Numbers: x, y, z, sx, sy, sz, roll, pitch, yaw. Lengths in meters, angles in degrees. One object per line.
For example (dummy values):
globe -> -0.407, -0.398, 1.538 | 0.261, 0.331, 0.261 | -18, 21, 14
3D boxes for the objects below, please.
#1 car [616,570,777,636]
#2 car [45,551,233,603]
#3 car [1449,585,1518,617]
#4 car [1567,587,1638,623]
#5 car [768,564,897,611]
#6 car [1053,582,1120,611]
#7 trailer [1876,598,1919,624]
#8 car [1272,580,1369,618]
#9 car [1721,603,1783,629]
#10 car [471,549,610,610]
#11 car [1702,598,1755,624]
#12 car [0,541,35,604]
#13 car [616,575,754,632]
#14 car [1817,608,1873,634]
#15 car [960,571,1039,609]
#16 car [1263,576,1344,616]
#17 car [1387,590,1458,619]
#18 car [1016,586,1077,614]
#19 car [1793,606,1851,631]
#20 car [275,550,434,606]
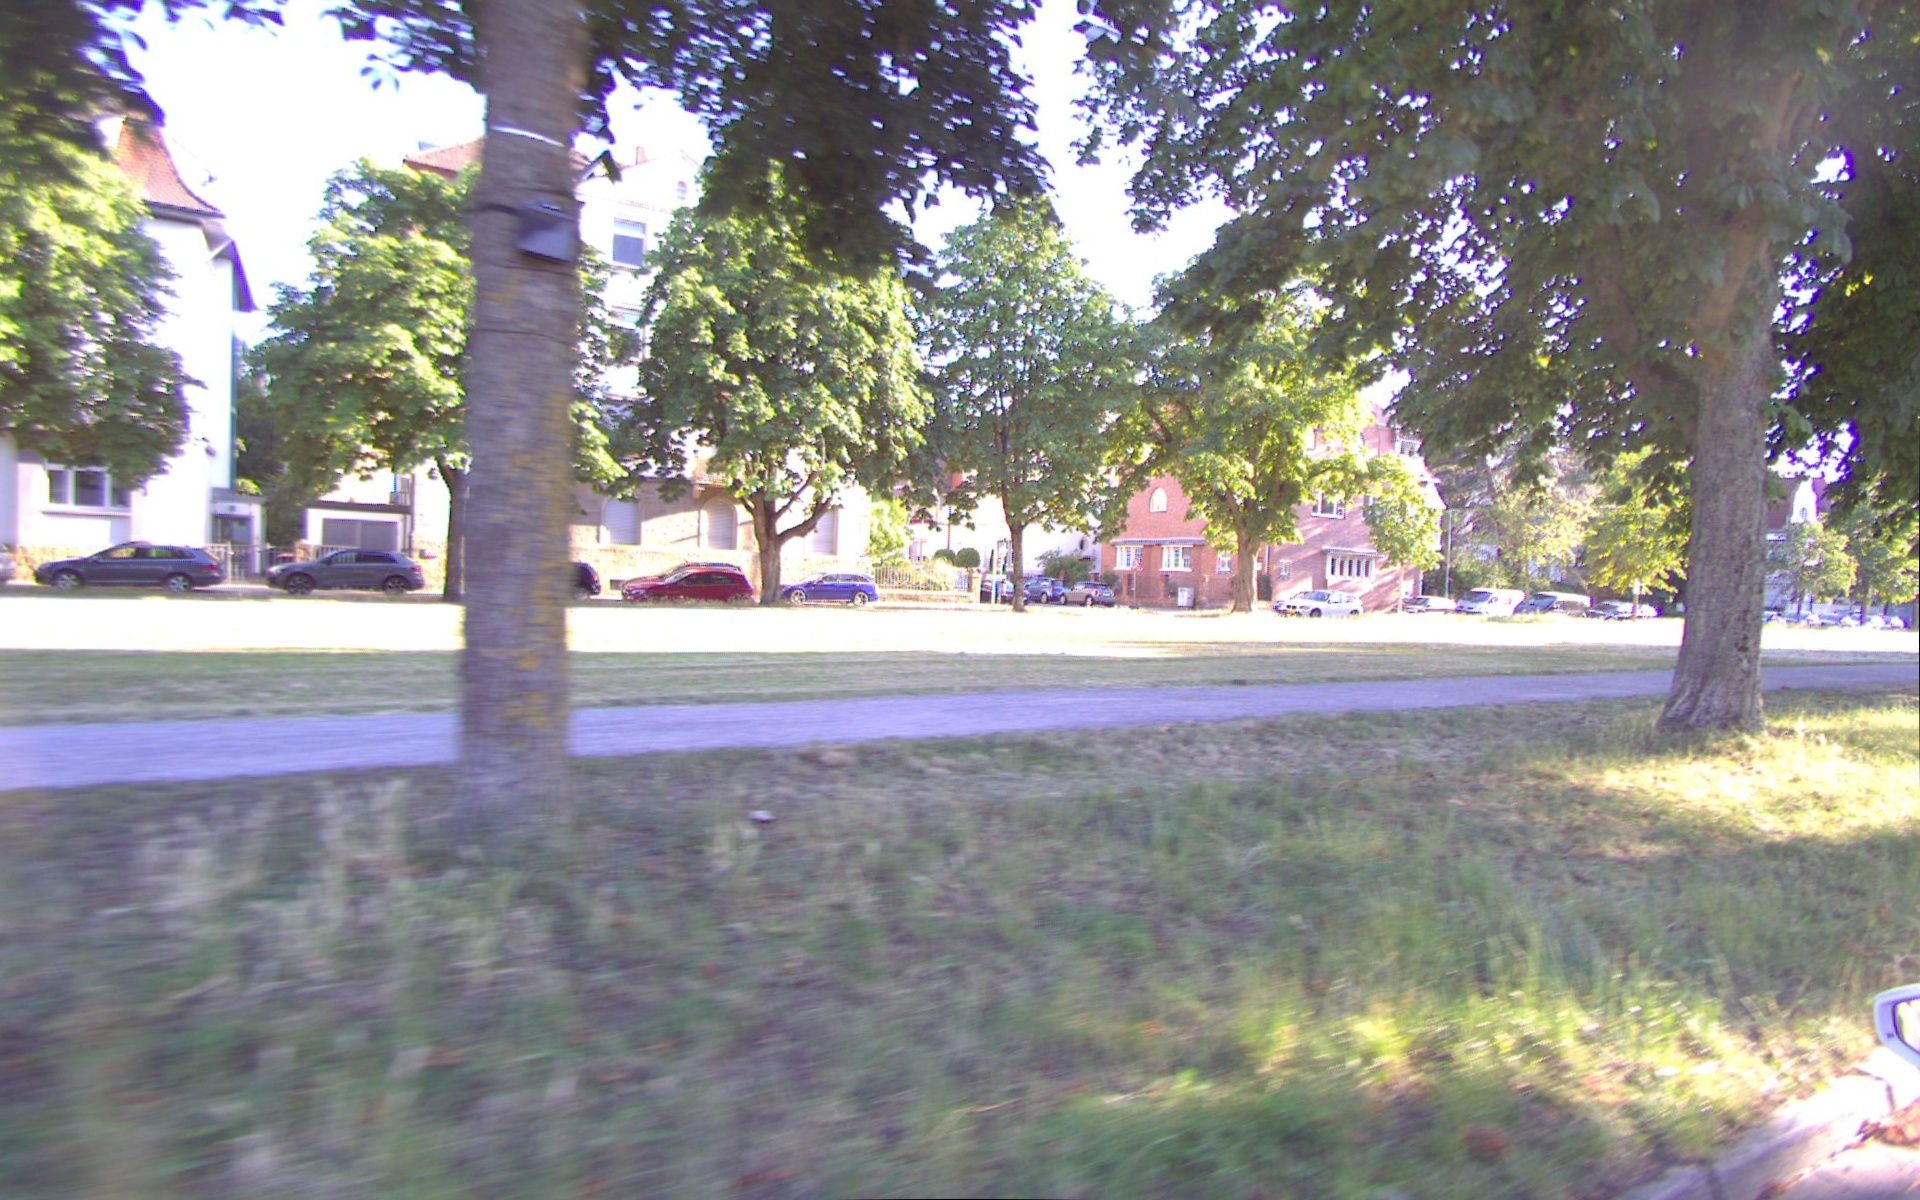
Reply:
car -> -8.717, 0.108, 33.249 | 4.815, 2.041, 1.985 | 1, 1, -28
car -> -25.011, -0.684, 30.805 | 4.117, 1.448, 1.985 | 1, 2, -28
car -> 33.620, 0.071, 64.436 | 4.355, 1.862, 1.808 | 1, 2, -30
car -> 39.442, 0.310, 61.694 | 3.952, 2.041, 1.984 | 1, 3, -30
car -> -5.294, -0.506, 41.822 | 4.949, 1.773, 1.983 | 1, 2, -31
car -> 7.305, -0.230, 58.276 | 1.842, 1.506, 3.970 | 1, 2, -28
trailer -> 93.085, 1.110, 99.508 | 4.667, 2.460, 1.984 | 1, 1, -30
car -> 17.460, -0.056, 48.597 | 4.596, 1.661, 1.810 | 1, 2, -30
car -> 56.543, 1.131, 71.722 | 3.949, 1.706, 1.986 | 1, 2, -28
car -> -15.106, -0.716, 36.211 | 4.379, 2.041, 1.983 | 1, 1, -31
car -> 62.088, 0.903, 81.126 | 3.952, 2.040, 2.023 | 2, -1, -29
car -> -28.846, -0.830, 28.117 | 3.950, 1.758, 1.985 | 1, 2, -28
car -> -10.566, 0.135, 38.678 | 4.815, 2.041, 1.985 | 1, 1, -28
car -> 71.108, 1.715, 80.737 | 4.203, 1.885, 1.985 | 2, 2, -29
car -> 2.127, -0.584, 55.703 | 1.978, 1.627, 4.833 | 10, -2, -28
car -> 19.004, -0.226, 55.559 | 4.316, 2.041, 1.748 | 1, 2, -30
car -> 28.574, 0.282, 62.051 | 4.253, 1.645, 1.748 | 1, 2, -30
car -> 5.288, -0.020, 61.944 | 1.814, 1.595, 3.878 | 1, 2, -30
car -> 66.512, 1.452, 77.511 | 4.203, 1.744, 1.985 | 2, 2, -29
car -> -19.981, -0.708, 33.301 | 4.379, 1.674, 1.983 | 1, 1, -31
